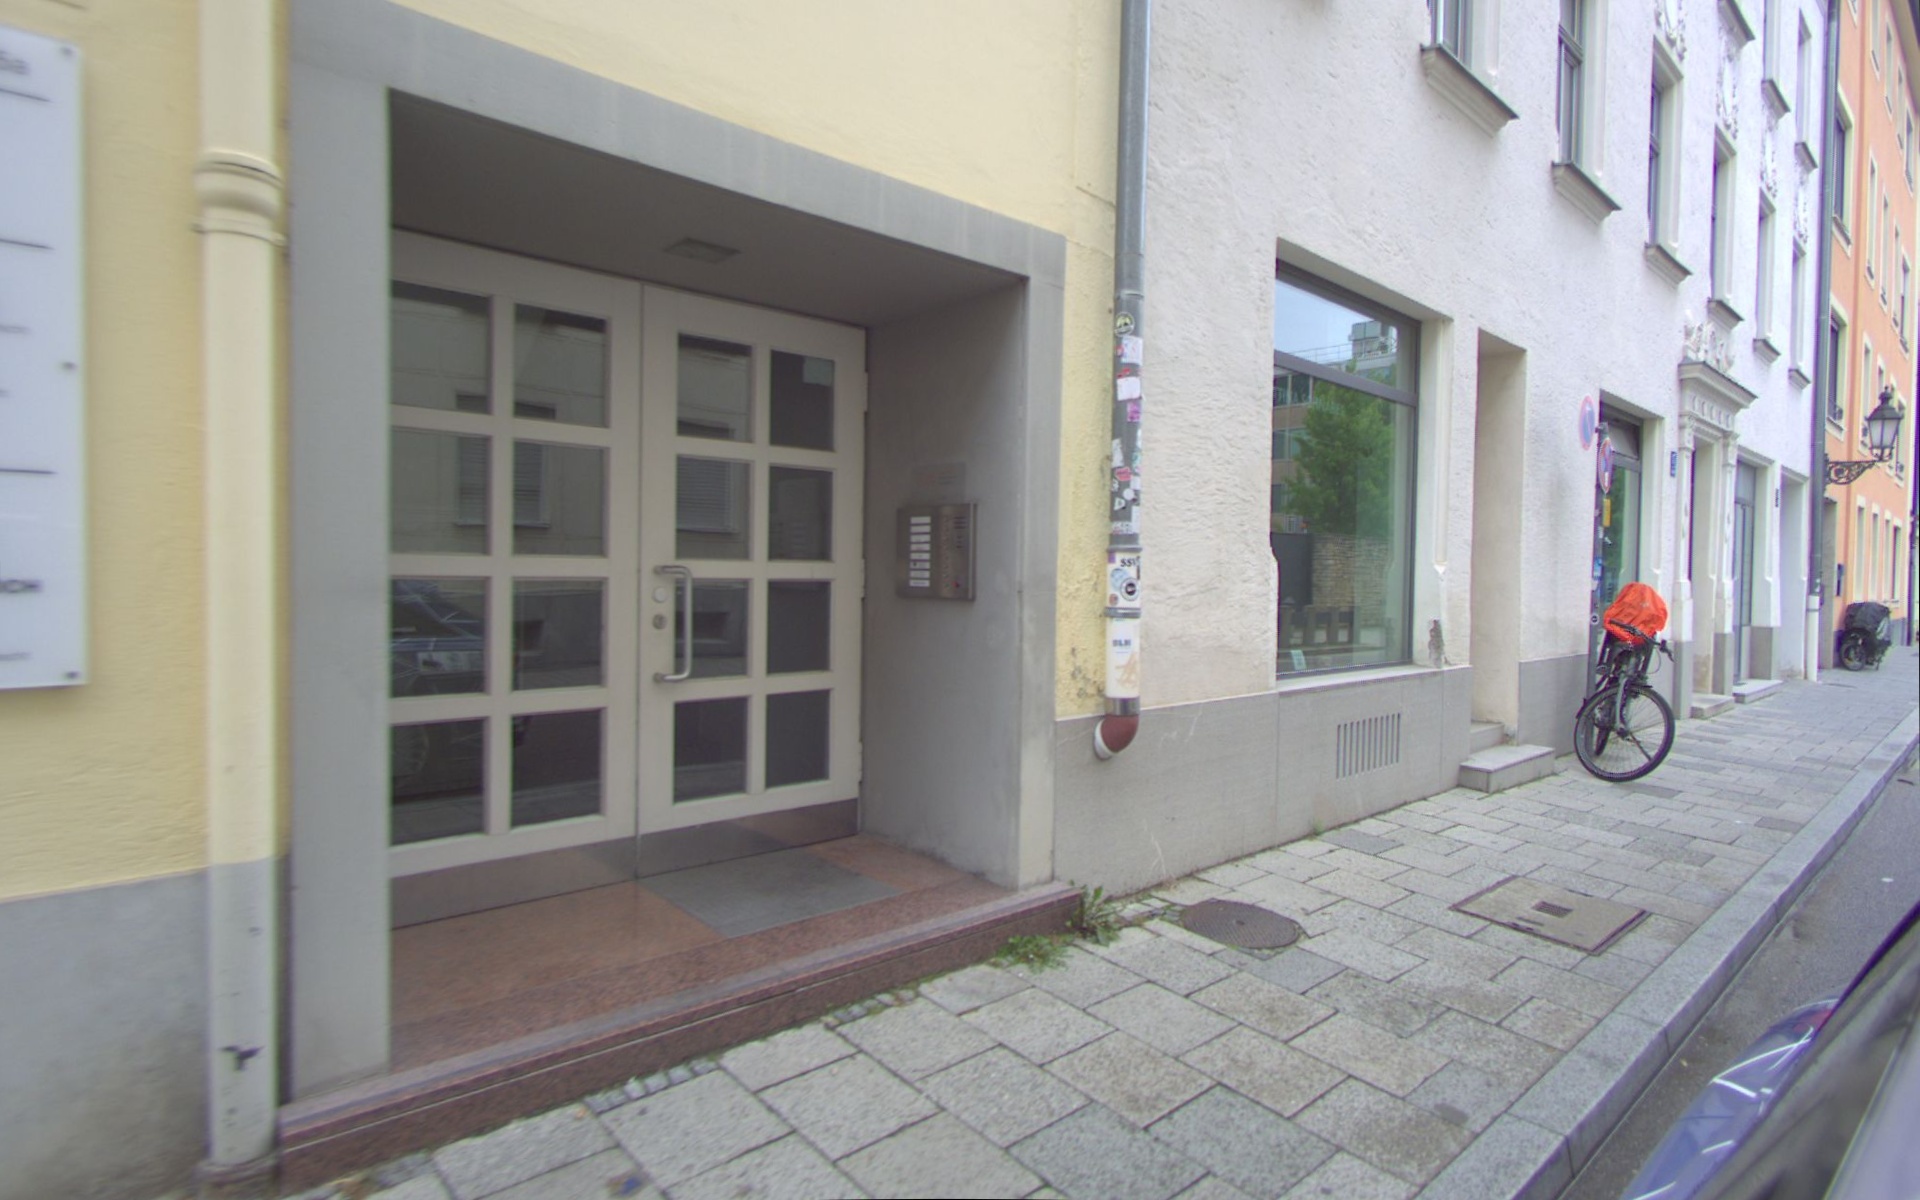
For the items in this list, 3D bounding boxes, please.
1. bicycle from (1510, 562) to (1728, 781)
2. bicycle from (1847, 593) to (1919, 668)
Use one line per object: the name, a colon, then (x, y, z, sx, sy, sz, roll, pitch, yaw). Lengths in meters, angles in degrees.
bicycle: (4.968, 0.459, 7.567, 2.084, 1.413, 0.715, 0, 4, -40)
bicycle: (17.238, 0.539, 18.828, 2.340, 1.254, 0.681, 1, 5, -41)
